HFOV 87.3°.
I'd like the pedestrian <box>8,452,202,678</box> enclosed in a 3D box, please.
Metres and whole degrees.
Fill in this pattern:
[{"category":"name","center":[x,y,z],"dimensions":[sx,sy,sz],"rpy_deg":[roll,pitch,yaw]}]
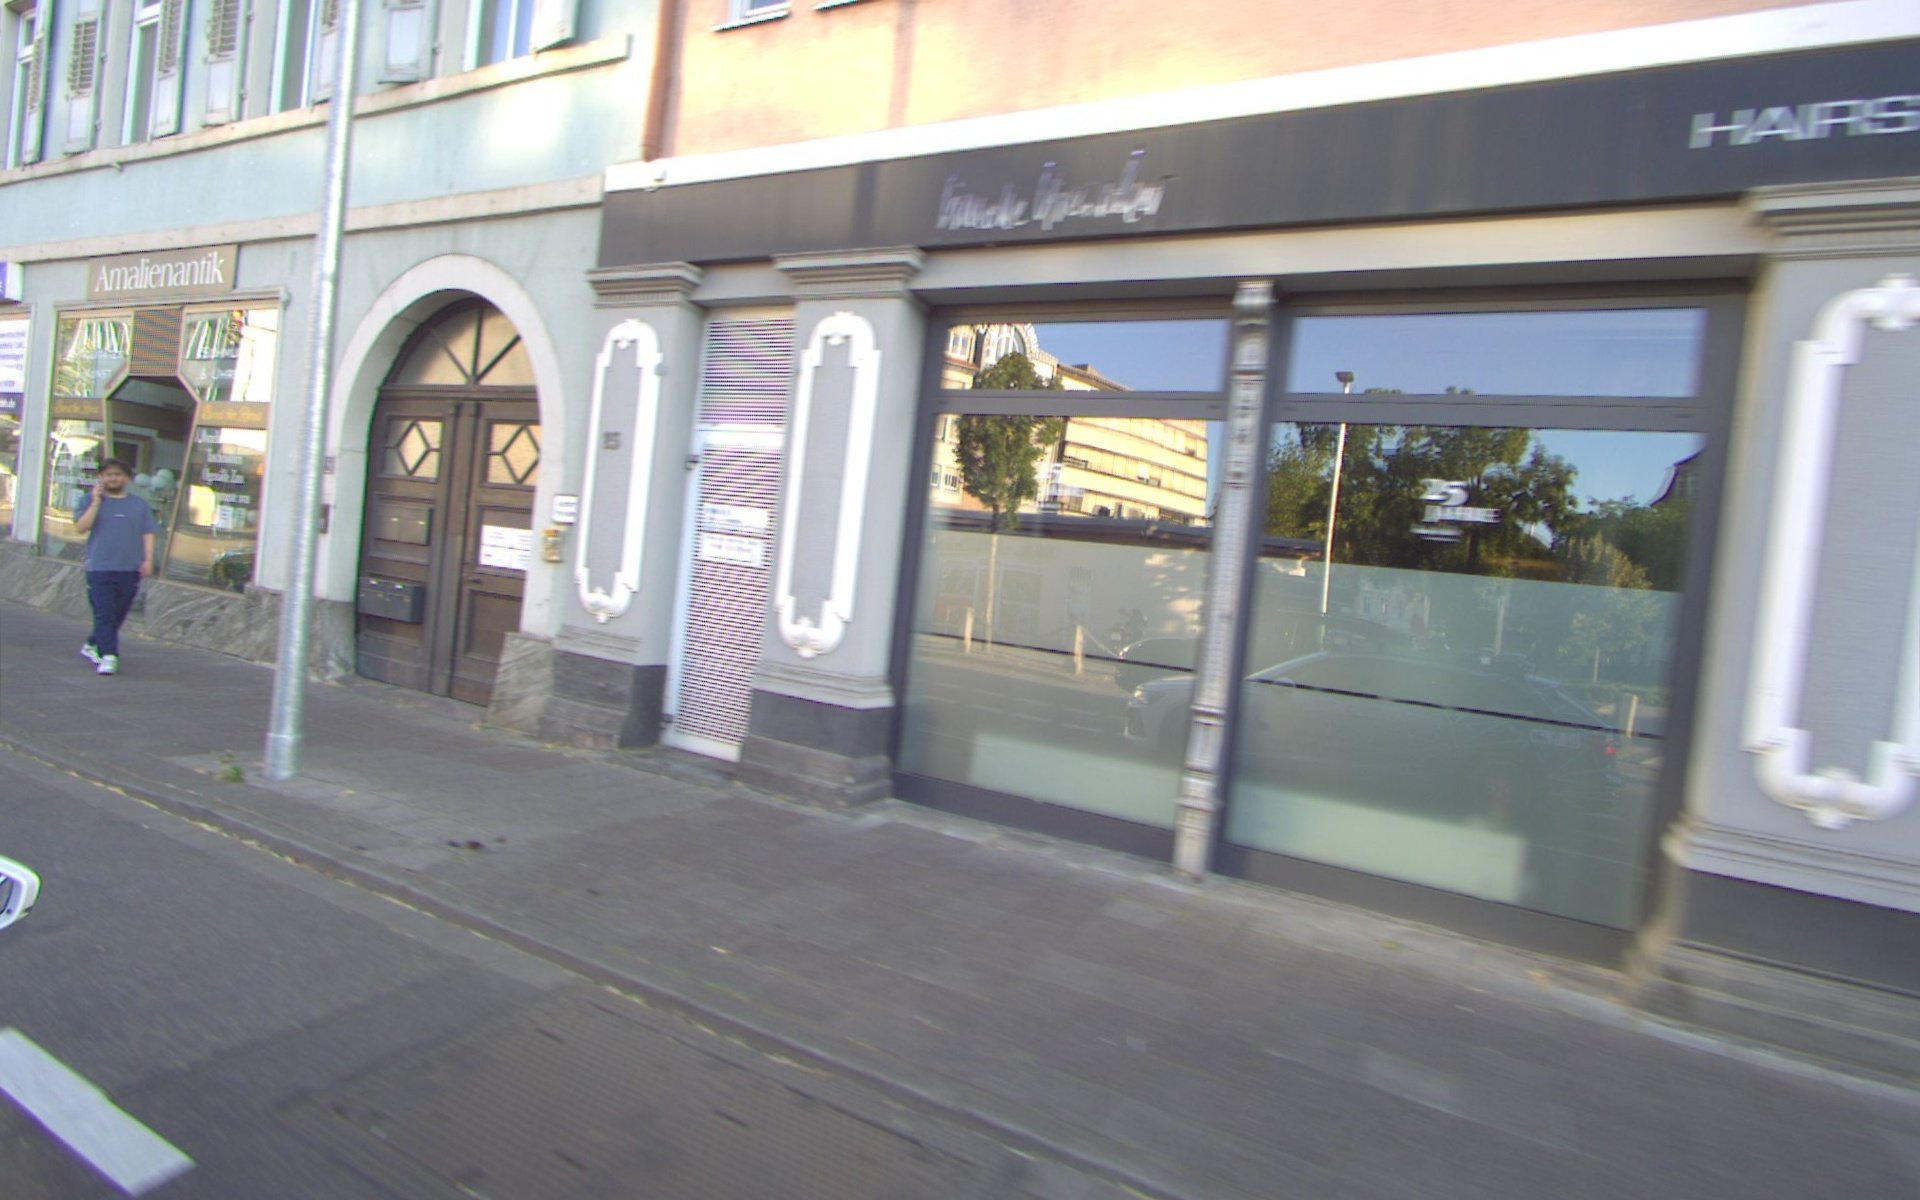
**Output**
[{"category":"pedestrian","center":[-6.846,-0.266,8.070],"dimensions":[0.856,1.663,0.825],"rpy_deg":[7,2,26]}]
